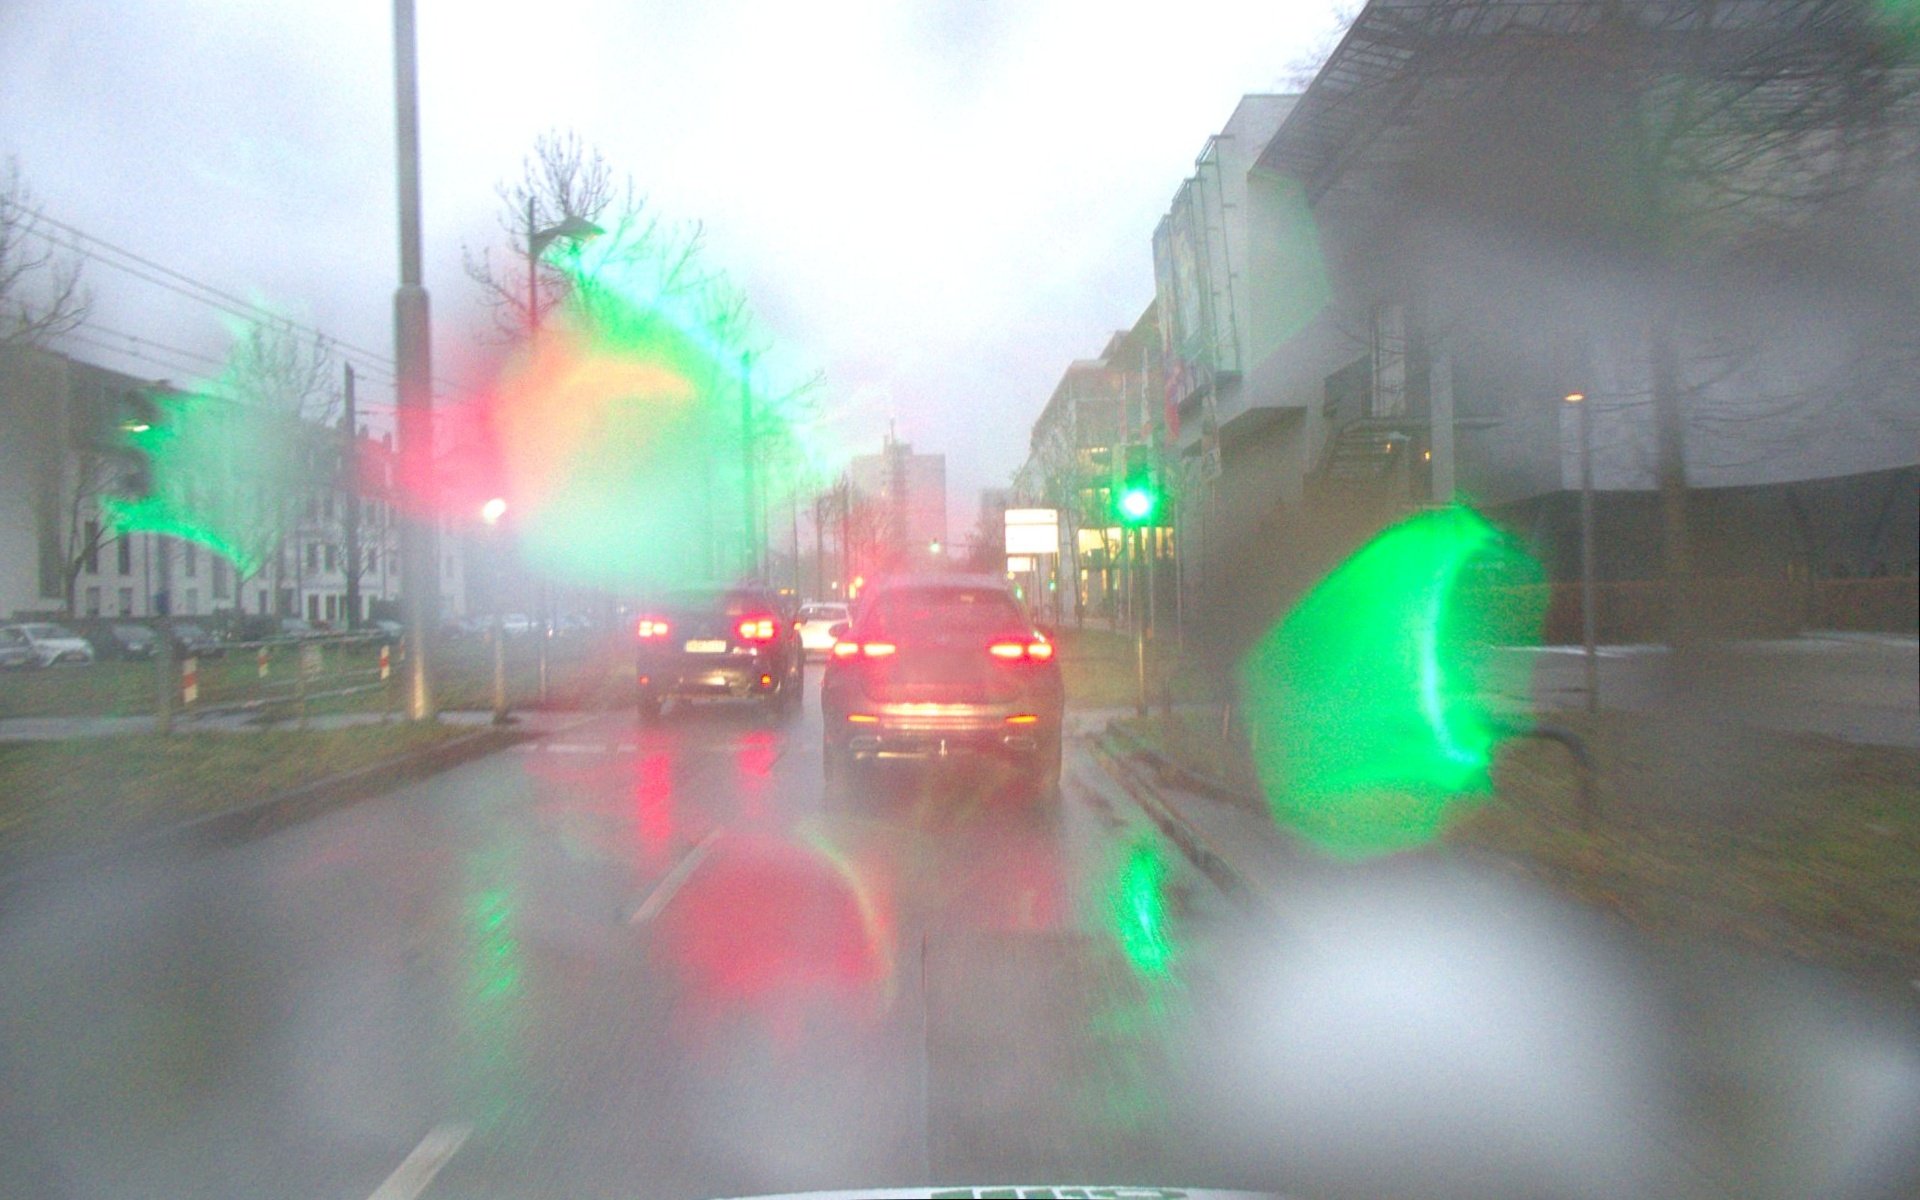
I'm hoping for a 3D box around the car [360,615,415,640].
[{"bbox_3d":[-28.710,1.359,82.872,2.835,1.225,1.381,0,0,41],"label":"car"}]

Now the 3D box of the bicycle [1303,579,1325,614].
[{"bbox_3d":[13.344,-0.137,62.342,0.402,1.307,1.743,0,0,26],"label":"bicycle"}]

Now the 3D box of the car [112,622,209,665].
[{"bbox_3d":[-27.599,1.478,57.096,2.874,1.359,1.733,1,0,32],"label":"car"}]

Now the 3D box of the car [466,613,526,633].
[{"bbox_3d":[-28.568,1.403,101.797,3.344,1.167,1.688,0,0,31],"label":"car"}]

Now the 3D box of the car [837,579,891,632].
[{"bbox_3d":[-3.316,0.204,57.668,1.628,1.790,3.567,0,-1,0],"label":"car"}]

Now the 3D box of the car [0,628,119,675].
[{"bbox_3d":[-27.300,1.545,50.095,3.765,1.267,1.732,1,0,35],"label":"car"}]

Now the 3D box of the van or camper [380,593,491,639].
[{"bbox_3d":[-28.797,0.847,90.751,6.736,2.401,1.994,0,0,33],"label":"van or camper"}]

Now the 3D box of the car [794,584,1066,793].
[{"bbox_3d":[-0.251,0.648,13.813,1.953,1.509,3.699,0,0,-1],"label":"car"}]

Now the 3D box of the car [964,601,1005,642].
[{"bbox_3d":[1.102,0.916,72.478,1.605,1.758,4.002,0,0,3],"label":"car"}]

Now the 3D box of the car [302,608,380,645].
[{"bbox_3d":[-28.480,1.192,76.060,3.778,1.616,1.733,0,0,41],"label":"car"}]

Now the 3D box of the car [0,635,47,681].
[{"bbox_3d":[-27.656,1.602,46.668,3.740,1.193,1.733,1,0,32],"label":"car"}]

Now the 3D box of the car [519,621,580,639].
[{"bbox_3d":[-28.589,2.087,115.083,4.098,1.135,1.678,0,0,30],"label":"car"}]

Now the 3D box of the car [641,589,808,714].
[{"bbox_3d":[-2.962,0.611,21.551,1.781,1.476,3.998,0,0,-3],"label":"car"}]

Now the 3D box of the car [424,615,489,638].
[{"bbox_3d":[-29.065,1.504,95.455,3.463,1.233,1.744,0,0,31],"label":"car"}]

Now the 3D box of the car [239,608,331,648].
[{"bbox_3d":[-28.407,1.156,69.600,4.078,1.568,1.664,0,0,35],"label":"car"}]

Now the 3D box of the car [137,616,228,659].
[{"bbox_3d":[-28.060,1.340,59.650,3.320,1.446,1.663,0,0,38],"label":"car"}]

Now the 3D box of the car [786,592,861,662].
[{"bbox_3d":[-3.392,0.645,41.515,1.655,1.664,3.473,0,0,-1],"label":"car"}]

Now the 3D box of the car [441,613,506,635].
[{"bbox_3d":[-28.952,1.403,98.387,3.463,1.221,1.878,0,0,31],"label":"car"}]
